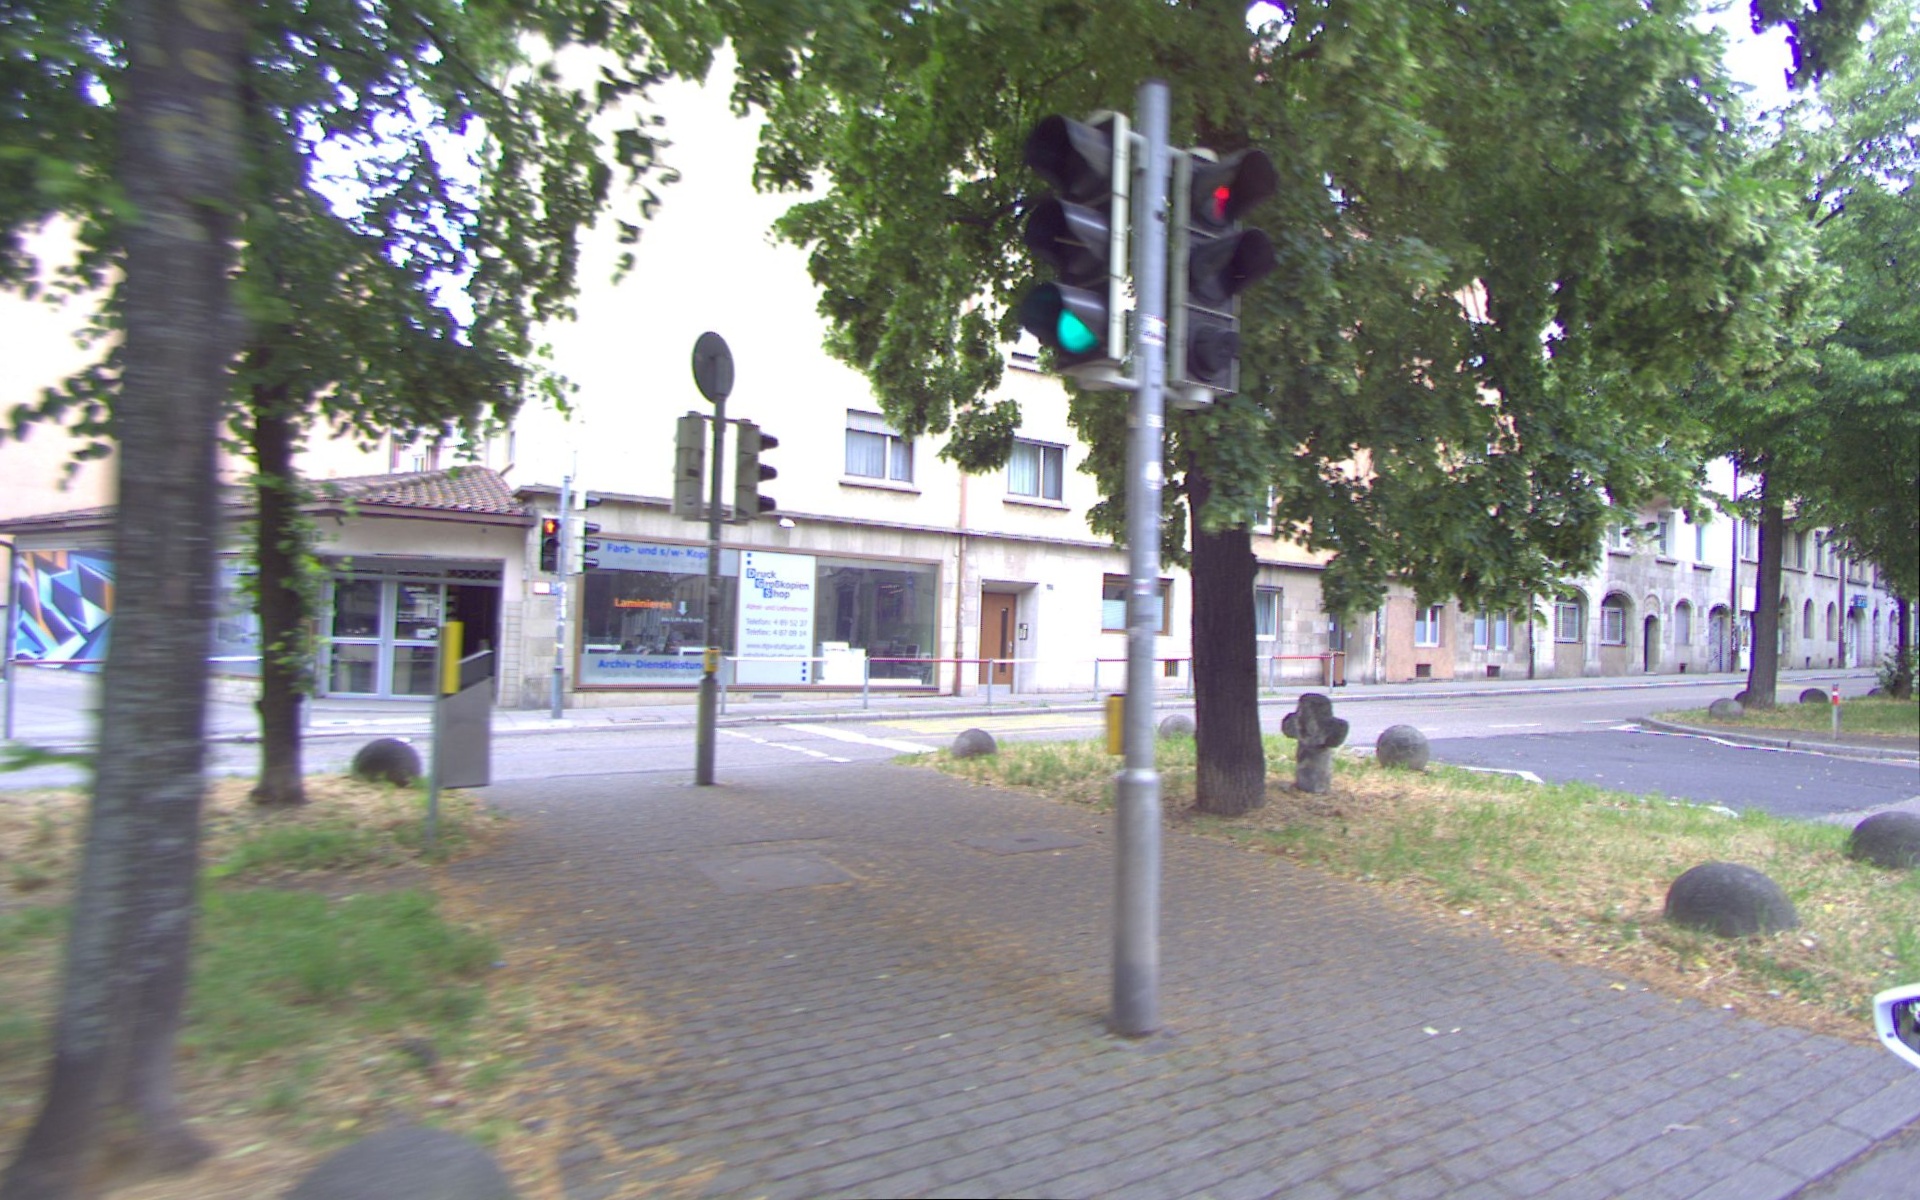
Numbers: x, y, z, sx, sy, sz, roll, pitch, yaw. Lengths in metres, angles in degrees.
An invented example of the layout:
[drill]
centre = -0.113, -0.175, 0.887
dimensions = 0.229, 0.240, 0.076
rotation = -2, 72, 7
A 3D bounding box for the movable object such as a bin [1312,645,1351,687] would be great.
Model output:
[movable object such as a bin]
centre = 9.915, 1.753, 26.804
dimensions = 0.683, 1.074, 0.687
rotation = 3, -1, -35
